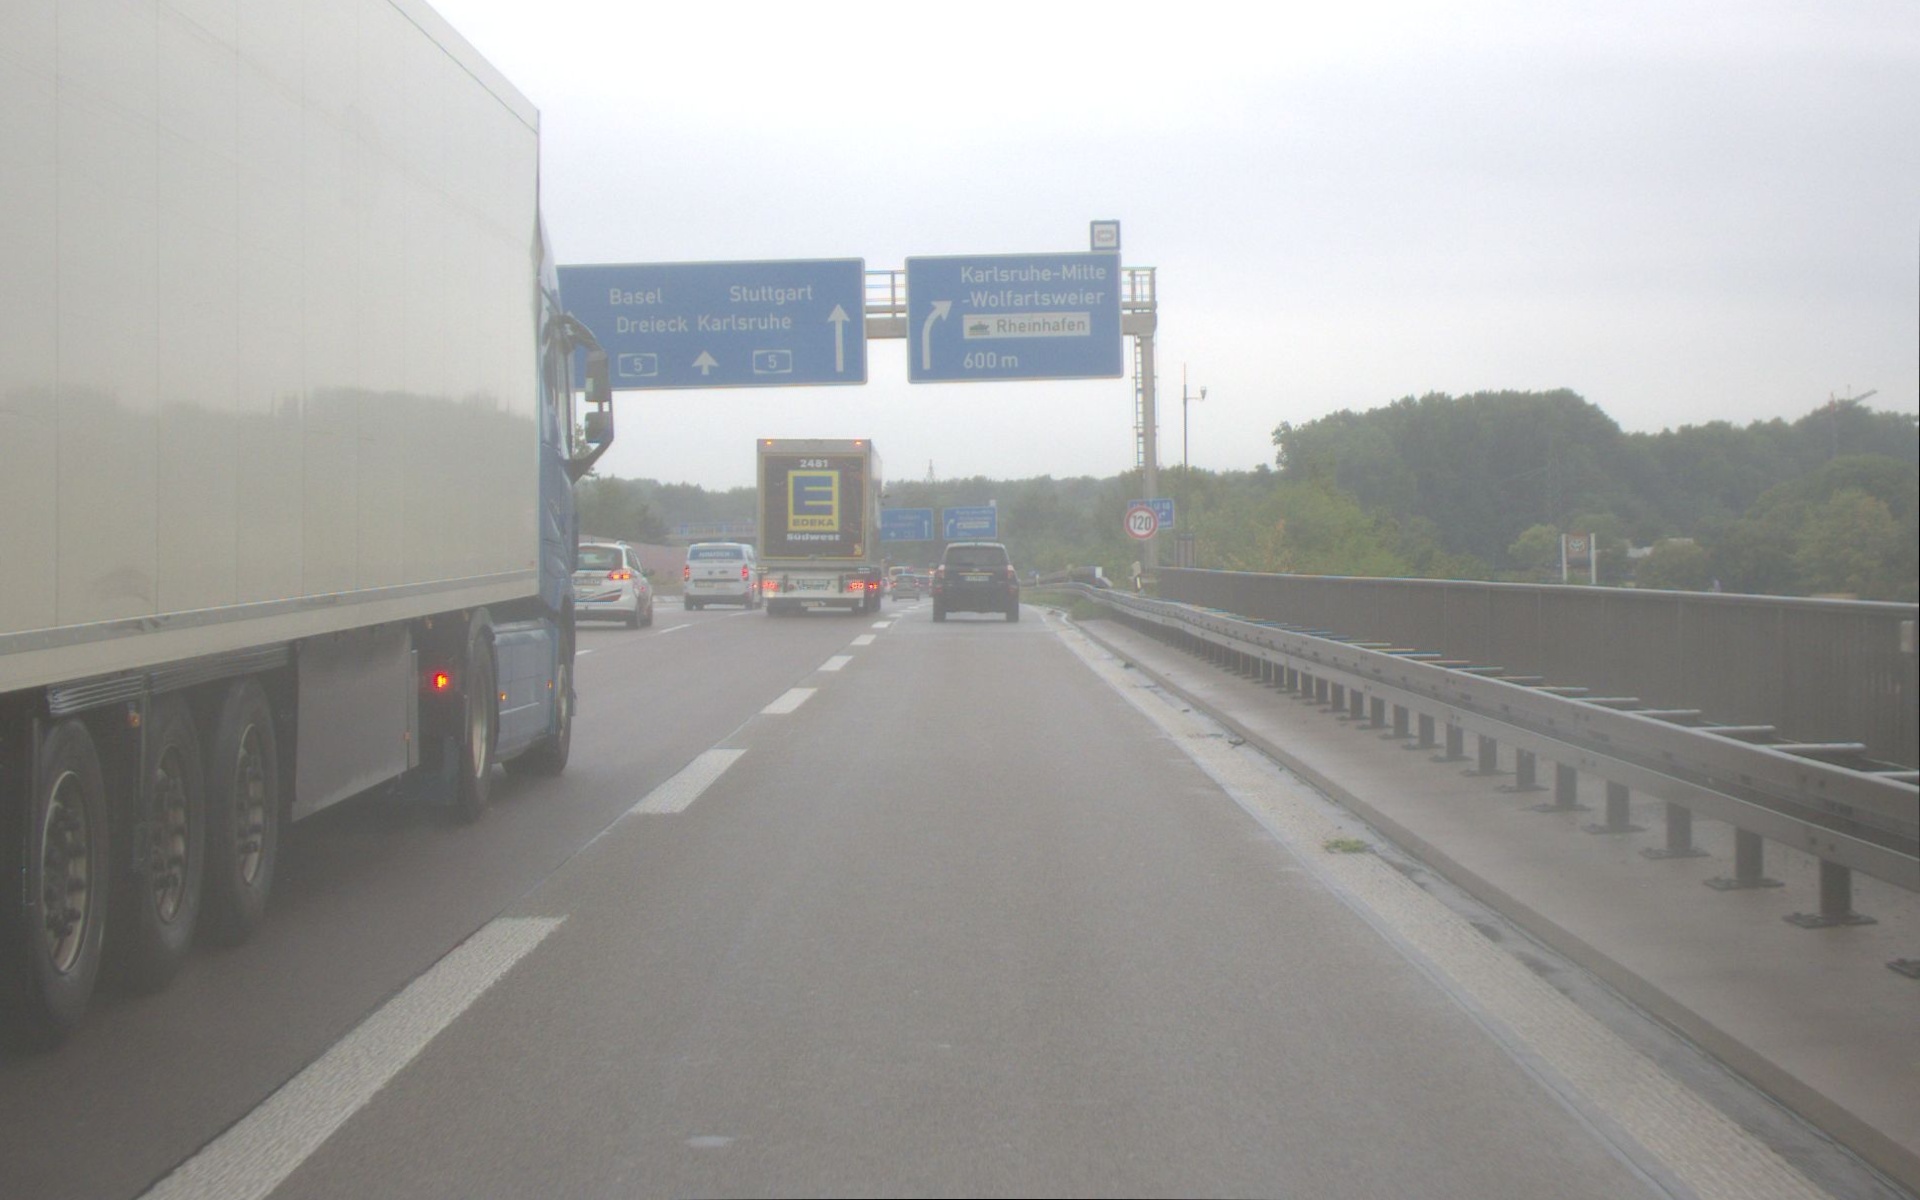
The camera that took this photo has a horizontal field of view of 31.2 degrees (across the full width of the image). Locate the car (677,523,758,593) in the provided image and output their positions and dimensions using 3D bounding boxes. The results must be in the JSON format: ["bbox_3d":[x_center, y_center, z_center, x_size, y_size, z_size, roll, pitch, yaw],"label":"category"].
[{"bbox_3d":[-6.983,-1.206,99.347,2.049,1.943,4.000,1,0,0],"label":"car"}]

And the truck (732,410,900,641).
[{"bbox_3d":[-3.346,-1.713,82.728,3.534,5.165,9.893,1,0,0],"label":"truck"}]

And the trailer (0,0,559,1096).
[{"bbox_3d":[-3.648,-0.888,13.501,2.342,4.143,14.827,-1,1,0],"label":"trailer"}]

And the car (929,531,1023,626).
[{"bbox_3d":[0.359,-0.459,73.458,1.897,1.943,4.000,1,0,1],"label":"car"}]

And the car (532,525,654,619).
[{"bbox_3d":[-7.024,-0.534,66.170,1.894,1.718,4.000,1,0,0],"label":"car"}]

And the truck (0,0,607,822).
[{"bbox_3d":[-3.620,-1.035,20.387,2.342,4.143,6.347,-1,1,0],"label":"truck"}]
